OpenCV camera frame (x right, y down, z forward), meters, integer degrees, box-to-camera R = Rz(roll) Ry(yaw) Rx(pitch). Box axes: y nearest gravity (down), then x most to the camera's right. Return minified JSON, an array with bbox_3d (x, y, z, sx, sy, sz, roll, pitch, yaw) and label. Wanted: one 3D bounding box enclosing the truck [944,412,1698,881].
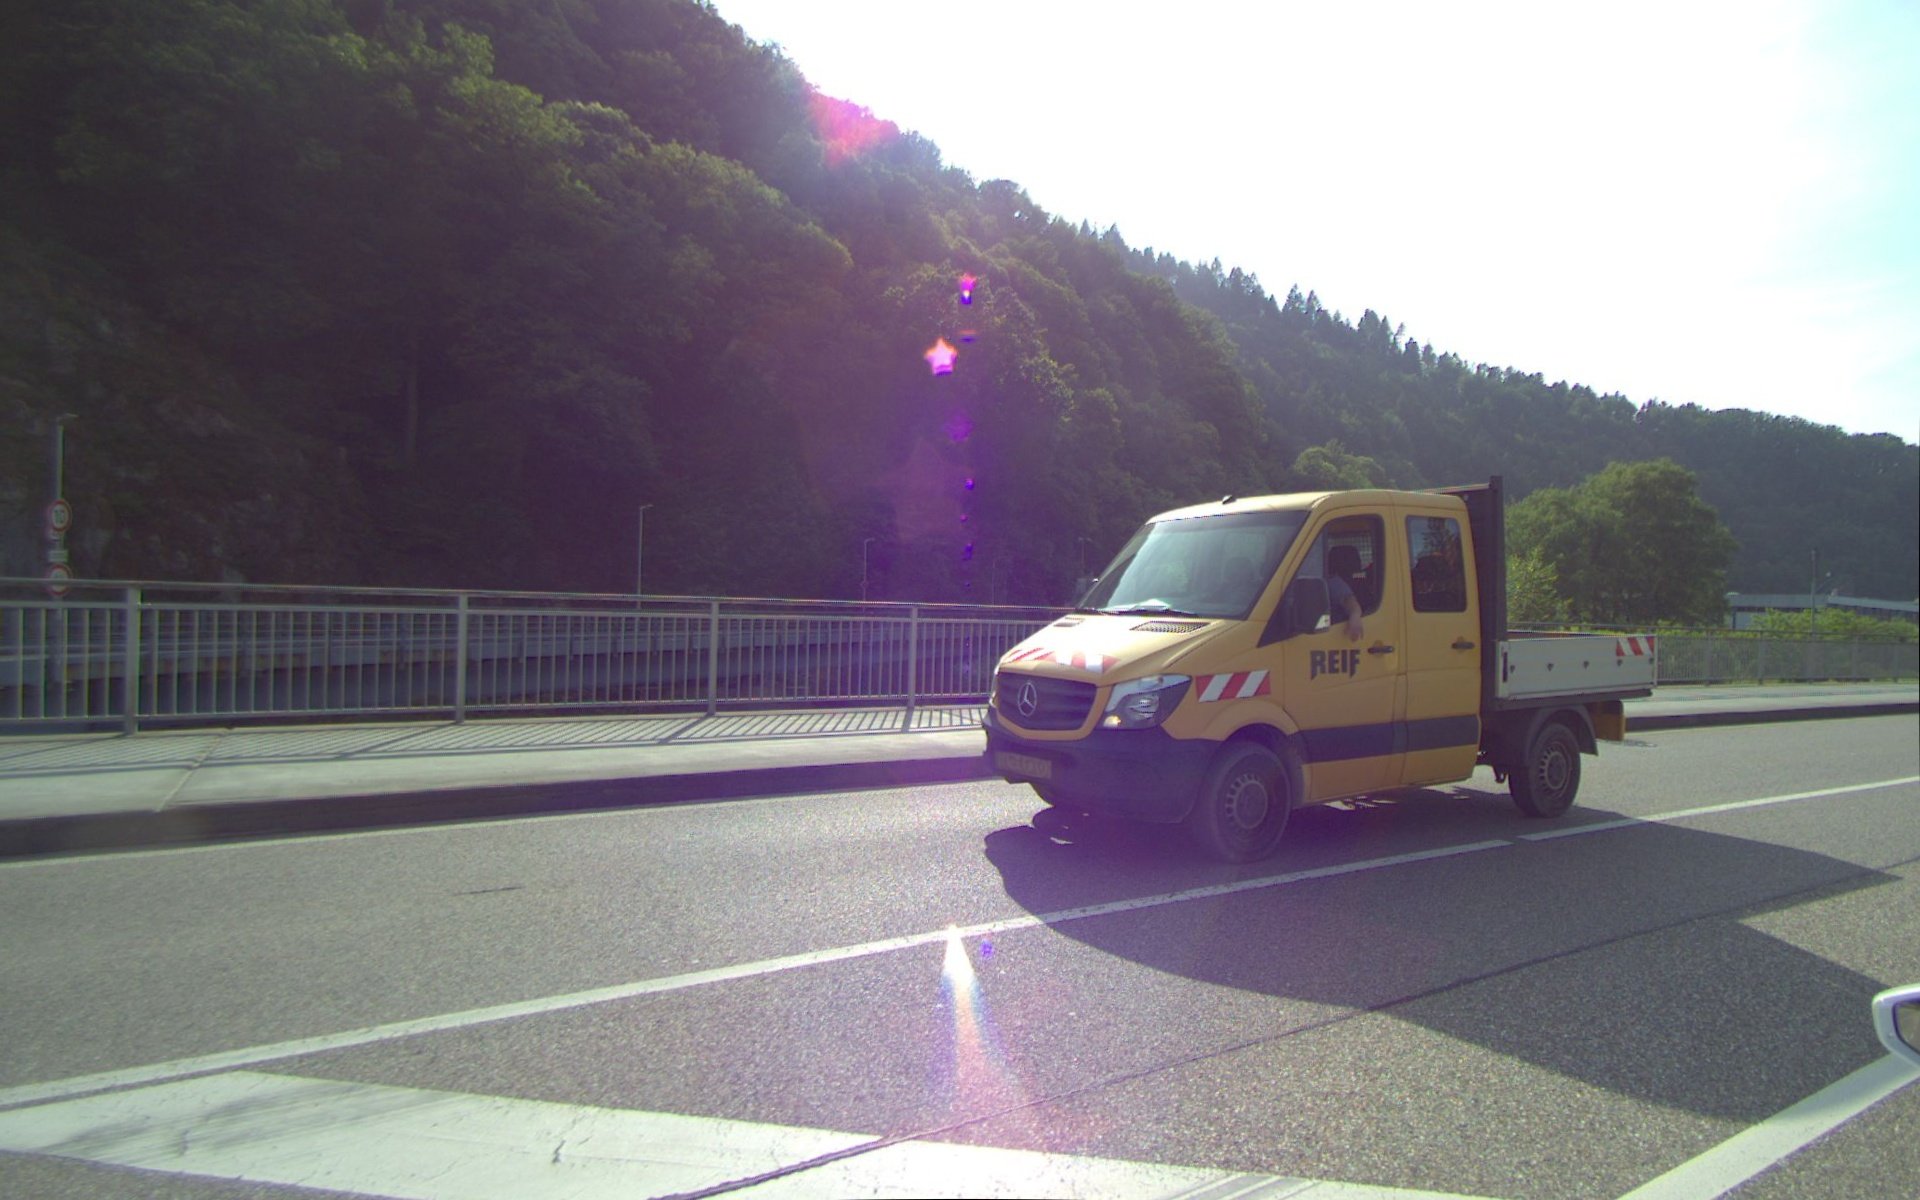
[{"bbox_3d":[2.940,0.303,7.604,5.787,2.419,2.153,2,0,-31],"label":"truck"}]
